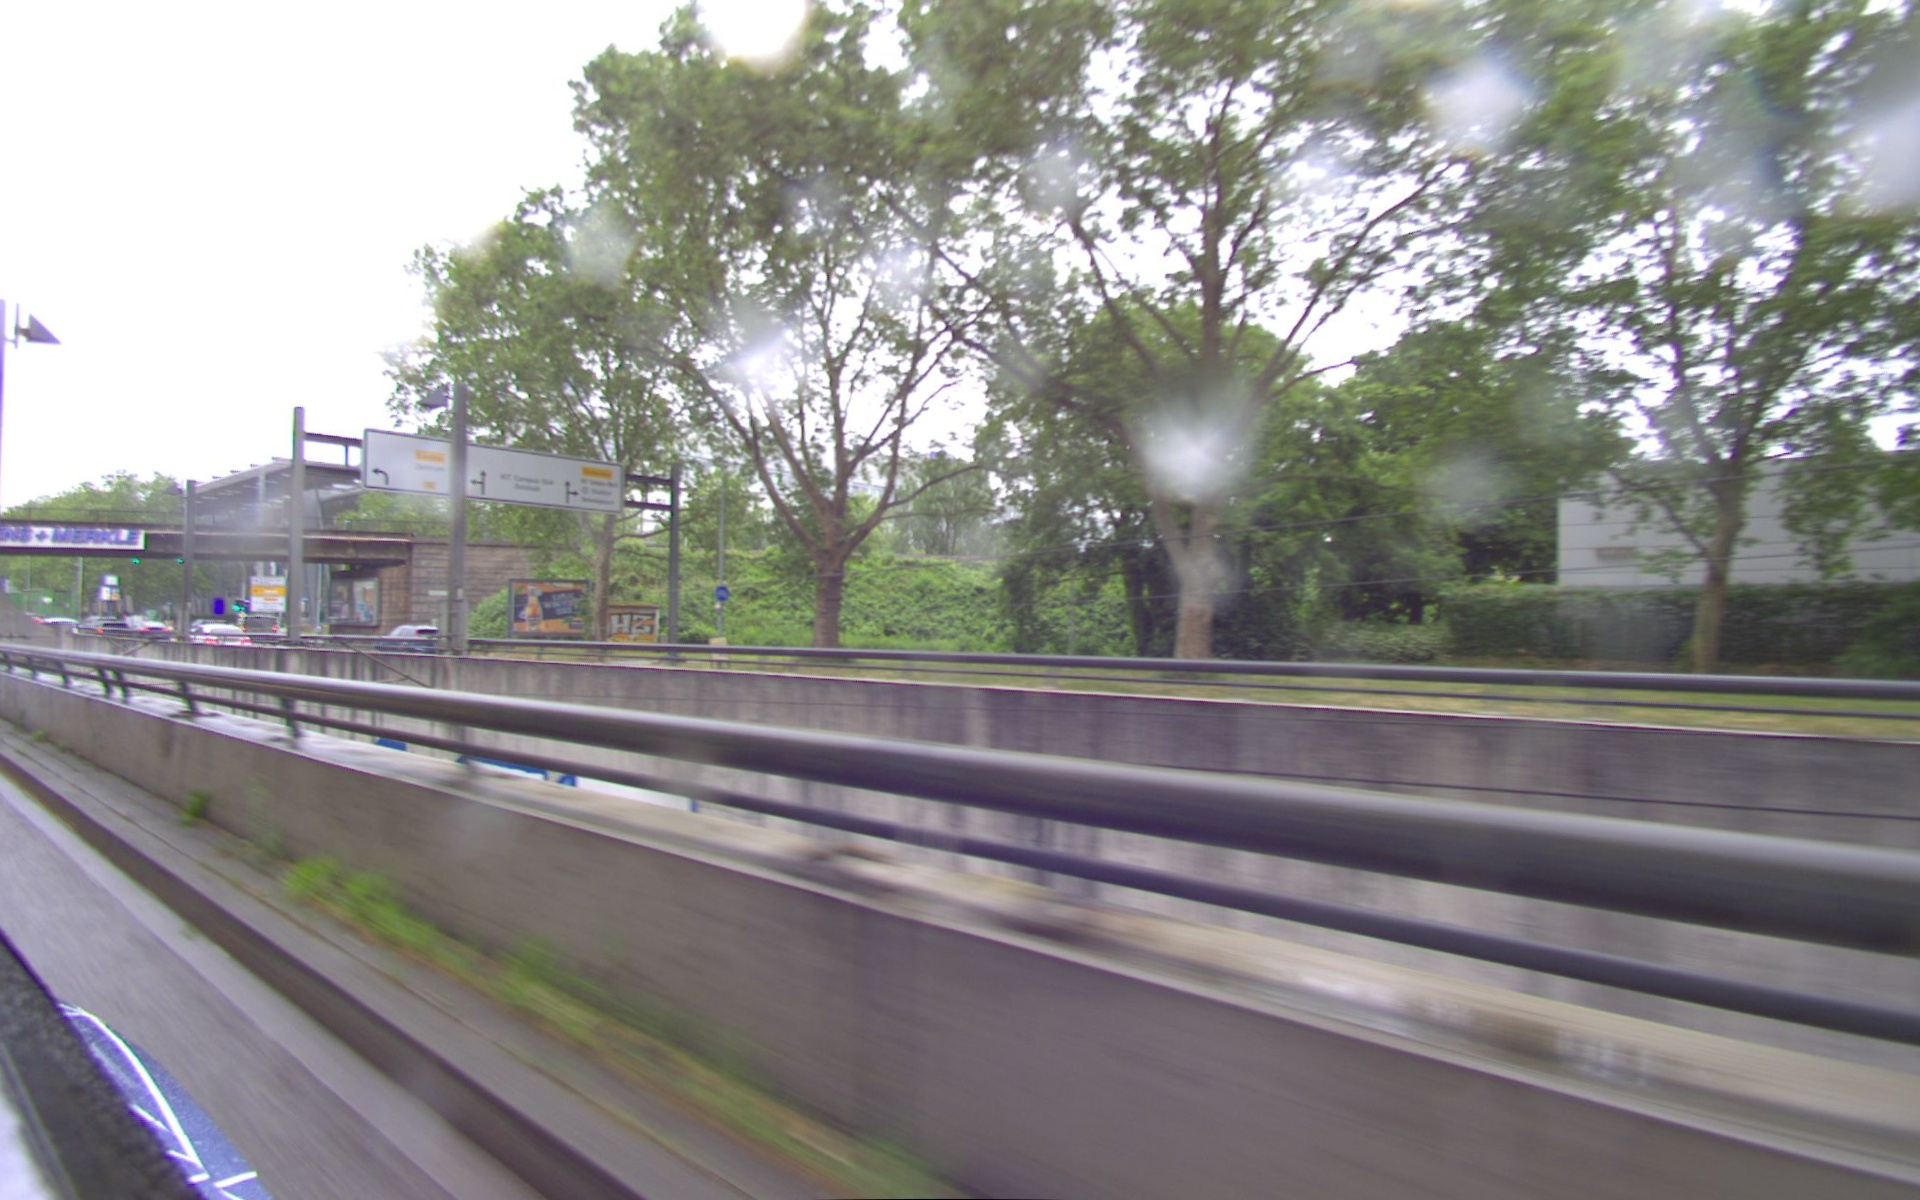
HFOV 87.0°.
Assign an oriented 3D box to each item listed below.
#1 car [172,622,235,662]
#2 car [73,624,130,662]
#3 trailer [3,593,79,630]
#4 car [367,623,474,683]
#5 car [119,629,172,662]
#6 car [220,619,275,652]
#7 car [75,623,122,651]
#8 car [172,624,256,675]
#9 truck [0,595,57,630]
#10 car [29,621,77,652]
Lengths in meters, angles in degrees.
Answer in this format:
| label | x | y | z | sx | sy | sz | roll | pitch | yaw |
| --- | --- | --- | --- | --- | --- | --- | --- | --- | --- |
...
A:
| label | x | y | z | sx | sy | sz | roll | pitch | yaw |
| --- | --- | --- | --- | --- | --- | --- | --- | --- | --- |
| car | -41.657 | 2.270 | 55.705 | 3.998 | 2.029 | 1.973 | -1 | 0 | 41 |
| car | -49.866 | 2.463 | 58.765 | 3.998 | 2.029 | 1.973 | -1 | 0 | 41 |
| trailer | -87.548 | 1.119 | 96.365 | 11.102 | 3.284 | 3.292 | -1 | 0 | 37 |
| car | -19.820 | 1.875 | 37.077 | 4.508 | 2.029 | 1.973 | -1 | 0 | 41 |
| car | -53.928 | 3.000 | 66.992 | 4.508 | 2.029 | 1.973 | -1 | 0 | 41 |
| car | -46.476 | 2.263 | 65.958 | 4.194 | 2.029 | 1.973 | -1 | 0 | 41 |
| car | -63.413 | 2.660 | 74.498 | 4.364 | 1.944 | 1.973 | -1 | 0 | 41 |
| car | -32.287 | 2.076 | 43.768 | 4.613 | 2.029 | 1.973 | -1 | 0 | 41 |
| truck | -92.209 | 1.204 | 99.894 | 6.511 | 3.334 | 3.344 | -1 | 0 | 36 |
| car | -62.763 | 2.496 | 69.998 | 3.998 | 2.029 | 1.973 | -1 | 0 | 41 |
